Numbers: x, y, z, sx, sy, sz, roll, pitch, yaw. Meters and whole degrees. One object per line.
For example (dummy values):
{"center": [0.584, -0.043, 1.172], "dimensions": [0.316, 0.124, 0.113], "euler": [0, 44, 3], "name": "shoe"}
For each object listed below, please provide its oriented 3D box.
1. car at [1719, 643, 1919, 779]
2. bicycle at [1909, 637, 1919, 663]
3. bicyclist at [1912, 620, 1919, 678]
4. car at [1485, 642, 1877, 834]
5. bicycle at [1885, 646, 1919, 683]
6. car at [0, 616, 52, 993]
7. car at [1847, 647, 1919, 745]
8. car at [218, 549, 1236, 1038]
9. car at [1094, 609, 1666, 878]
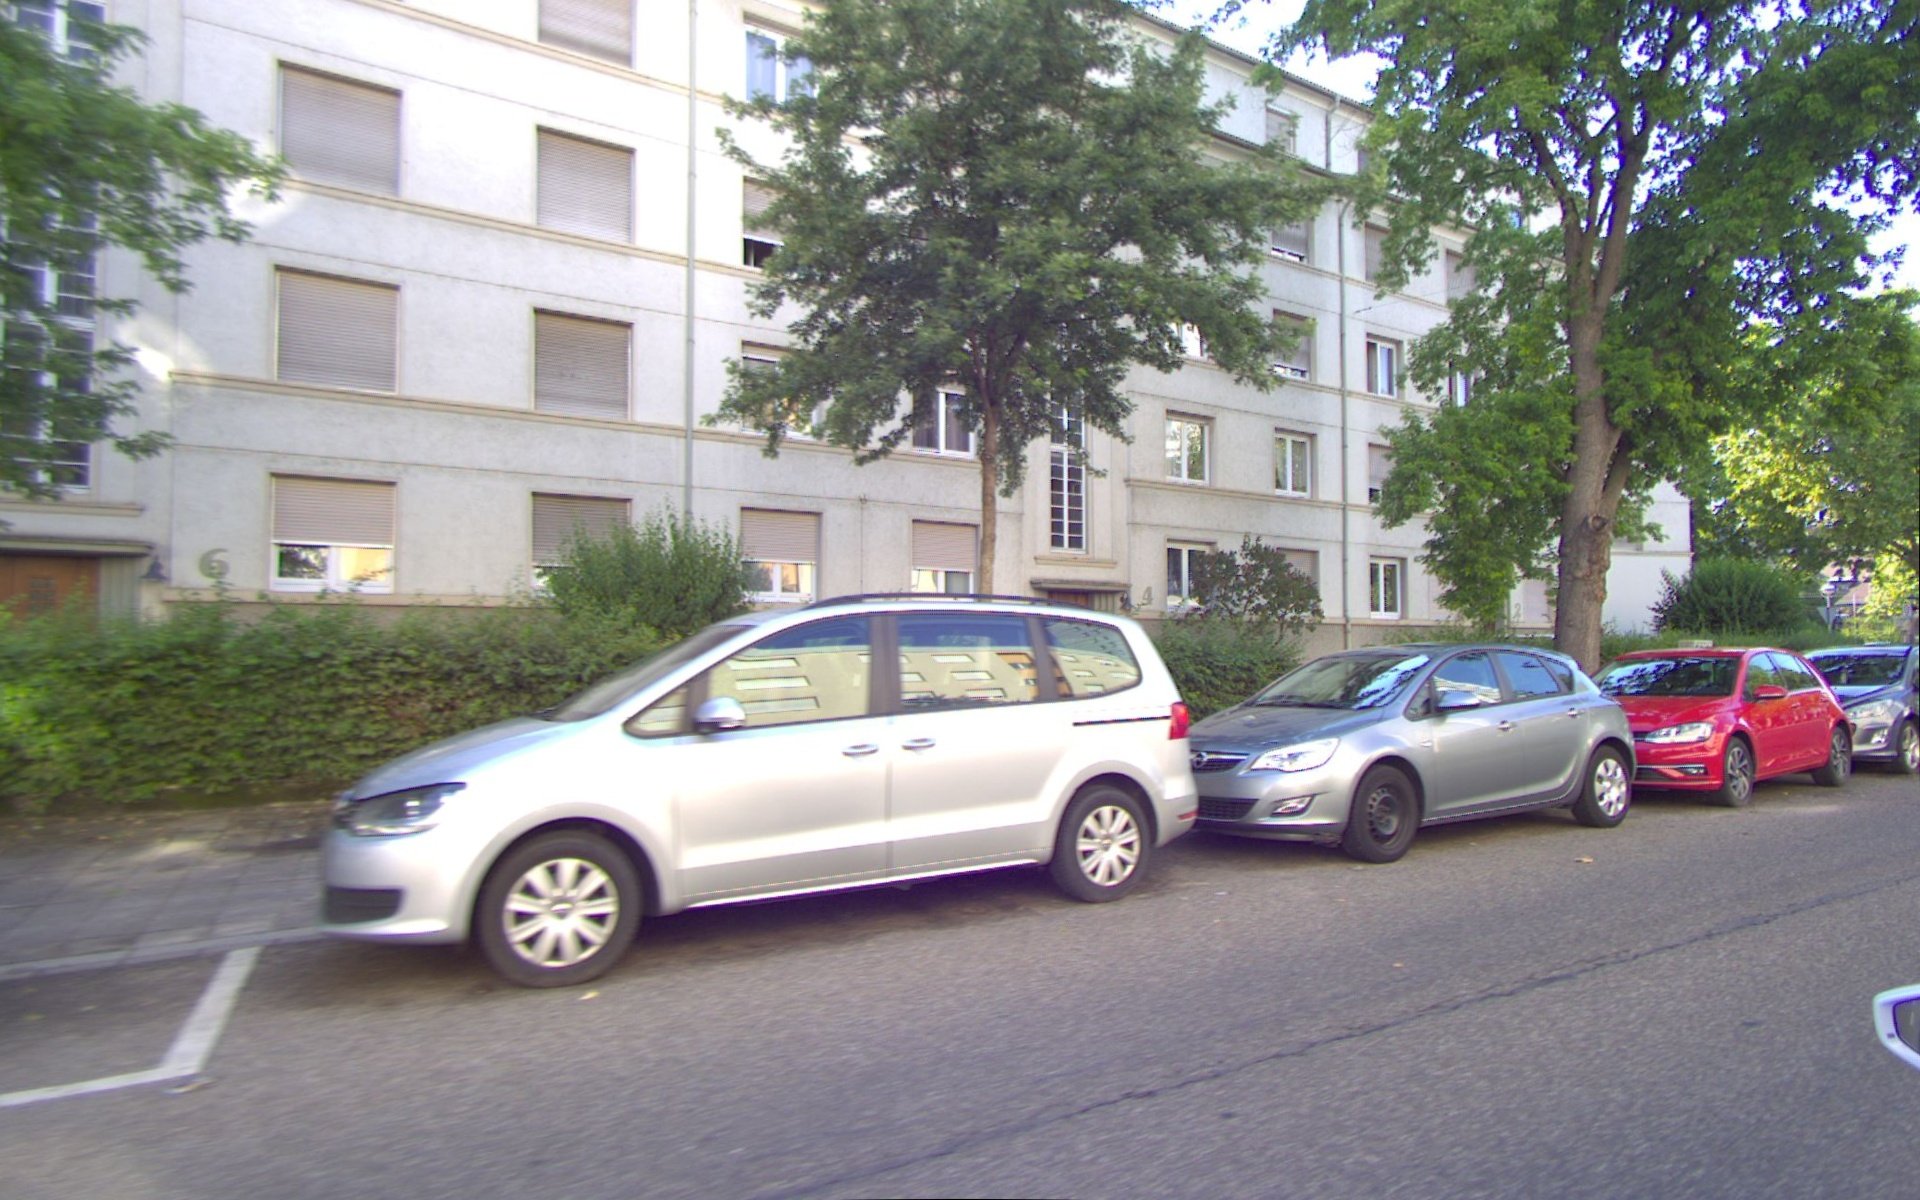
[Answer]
{"center": [11.692, 1.331, 12.892], "dimensions": [4.081, 1.458, 1.695], "euler": [2, -2, -31], "name": "car"}
{"center": [44.932, 2.319, 46.393], "dimensions": [3.254, 1.160, 0.714], "euler": [2, -1, -31], "name": "bicycle"}
{"center": [34.549, 1.746, 35.572], "dimensions": [0.781, 2.040, 0.978], "euler": [1, -1, 5], "name": "bicyclist"}
{"center": [7.467, 1.275, 10.344], "dimensions": [3.954, 1.579, 1.862], "euler": [2, -2, -31], "name": "car"}
{"center": [34.486, 2.297, 35.583], "dimensions": [2.433, 1.281, 1.012], "euler": [1, -1, 4], "name": "bicycle"}
{"center": [-5.570, 0.766, 2.853], "dimensions": [4.053, 1.578, 1.863], "euler": [2, -6, -31], "name": "car"}
{"center": [15.684, 1.462, 15.422], "dimensions": [4.656, 1.370, 1.761], "euler": [2, -2, -31], "name": "car"}
{"center": [-0.925, 0.805, 5.605], "dimensions": [4.917, 1.699, 1.907], "euler": [2, -4, -31], "name": "car"}
{"center": [3.384, 0.980, 7.893], "dimensions": [4.445, 1.578, 1.862], "euler": [2, -4, -31], "name": "car"}
